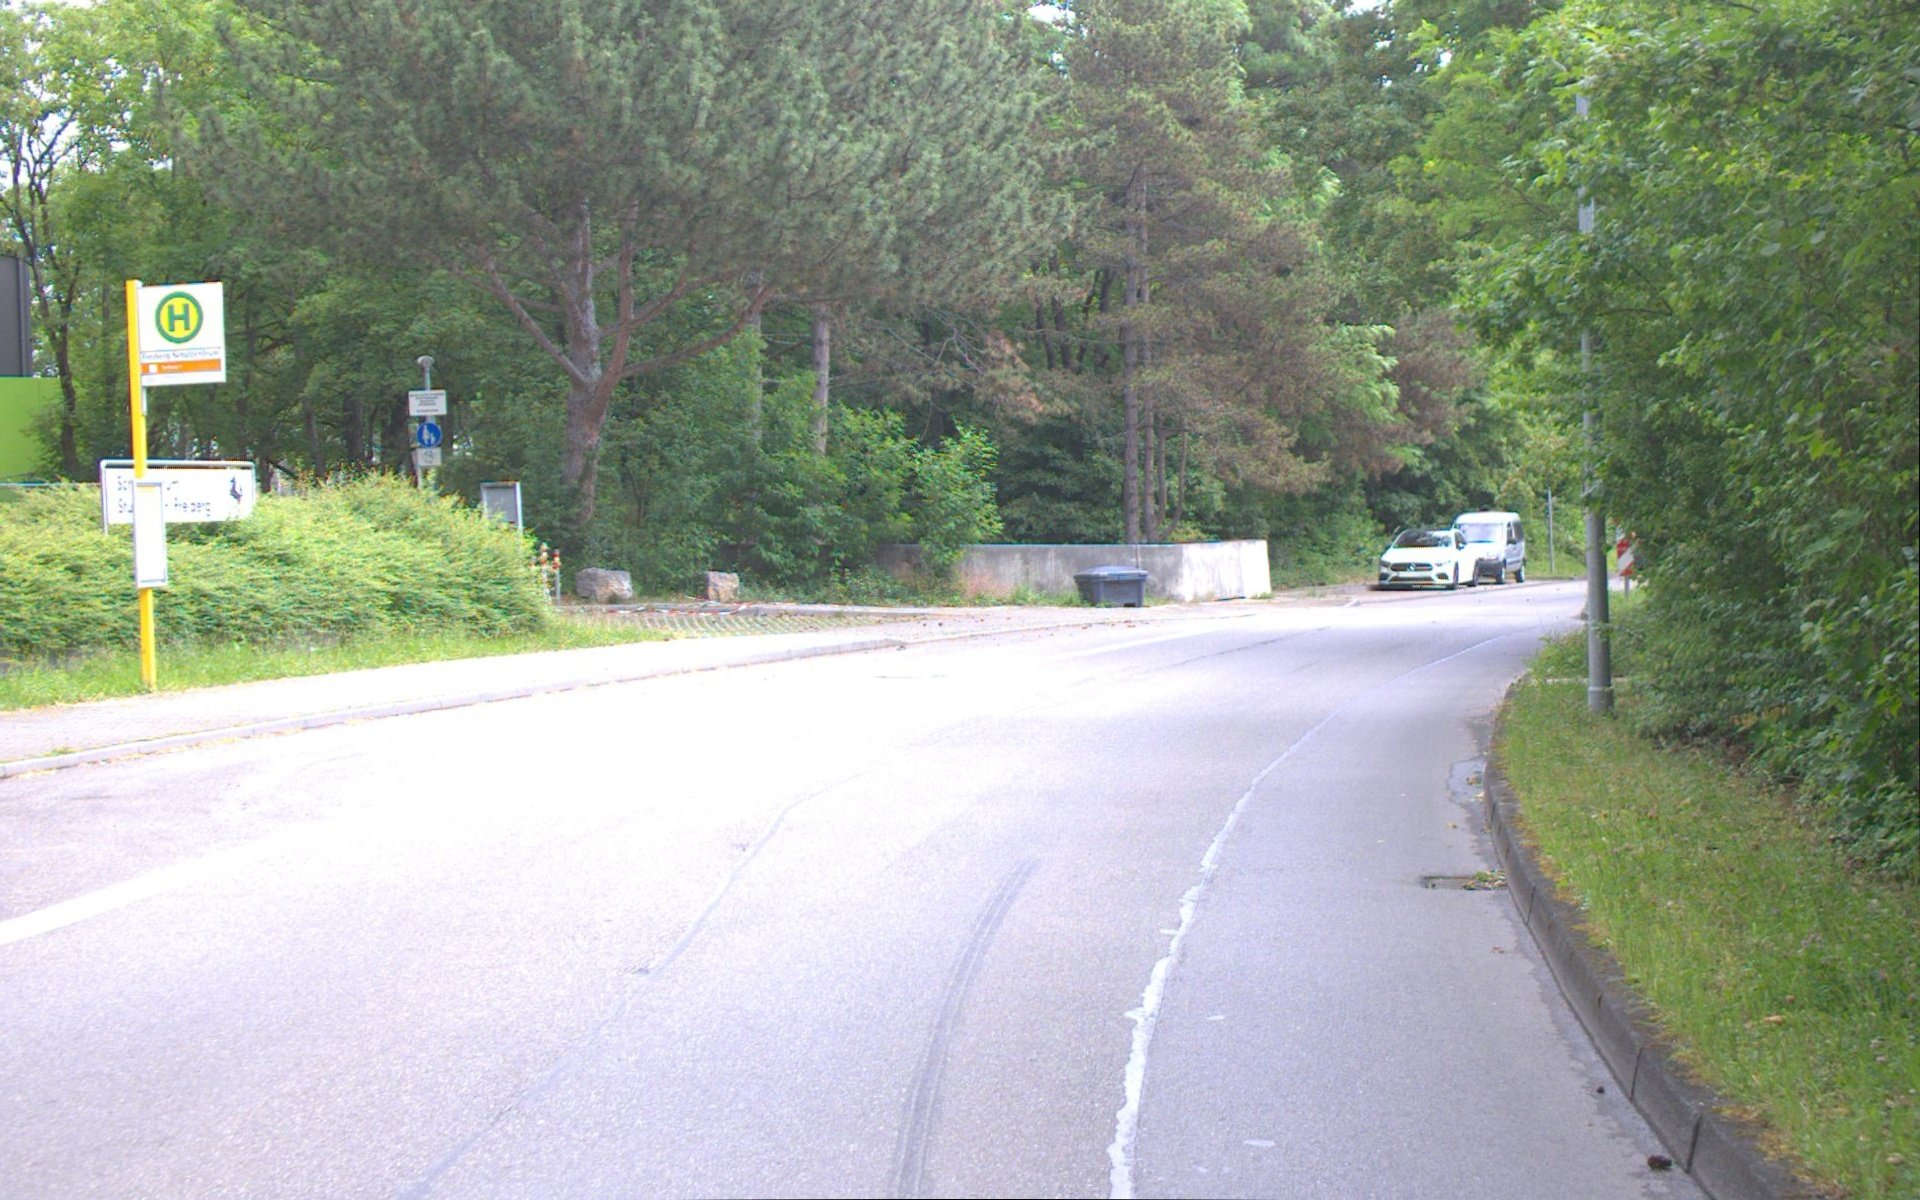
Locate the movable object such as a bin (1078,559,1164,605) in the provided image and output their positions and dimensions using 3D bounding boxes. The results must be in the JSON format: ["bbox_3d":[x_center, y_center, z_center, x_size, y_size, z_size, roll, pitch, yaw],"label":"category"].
[{"bbox_3d":[2.734,-0.303,58.529,1.143,0.758,1.049,1,0,-18],"label":"movable object such as a bin"}]

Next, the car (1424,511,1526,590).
[{"bbox_3d":[13.130,-1.276,87.507,1.723,1.914,4.101,1,2,21],"label":"car"}]

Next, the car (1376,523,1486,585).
[{"bbox_3d":[11.152,-1.110,81.191,1.807,1.398,4.368,0,1,18],"label":"car"}]
